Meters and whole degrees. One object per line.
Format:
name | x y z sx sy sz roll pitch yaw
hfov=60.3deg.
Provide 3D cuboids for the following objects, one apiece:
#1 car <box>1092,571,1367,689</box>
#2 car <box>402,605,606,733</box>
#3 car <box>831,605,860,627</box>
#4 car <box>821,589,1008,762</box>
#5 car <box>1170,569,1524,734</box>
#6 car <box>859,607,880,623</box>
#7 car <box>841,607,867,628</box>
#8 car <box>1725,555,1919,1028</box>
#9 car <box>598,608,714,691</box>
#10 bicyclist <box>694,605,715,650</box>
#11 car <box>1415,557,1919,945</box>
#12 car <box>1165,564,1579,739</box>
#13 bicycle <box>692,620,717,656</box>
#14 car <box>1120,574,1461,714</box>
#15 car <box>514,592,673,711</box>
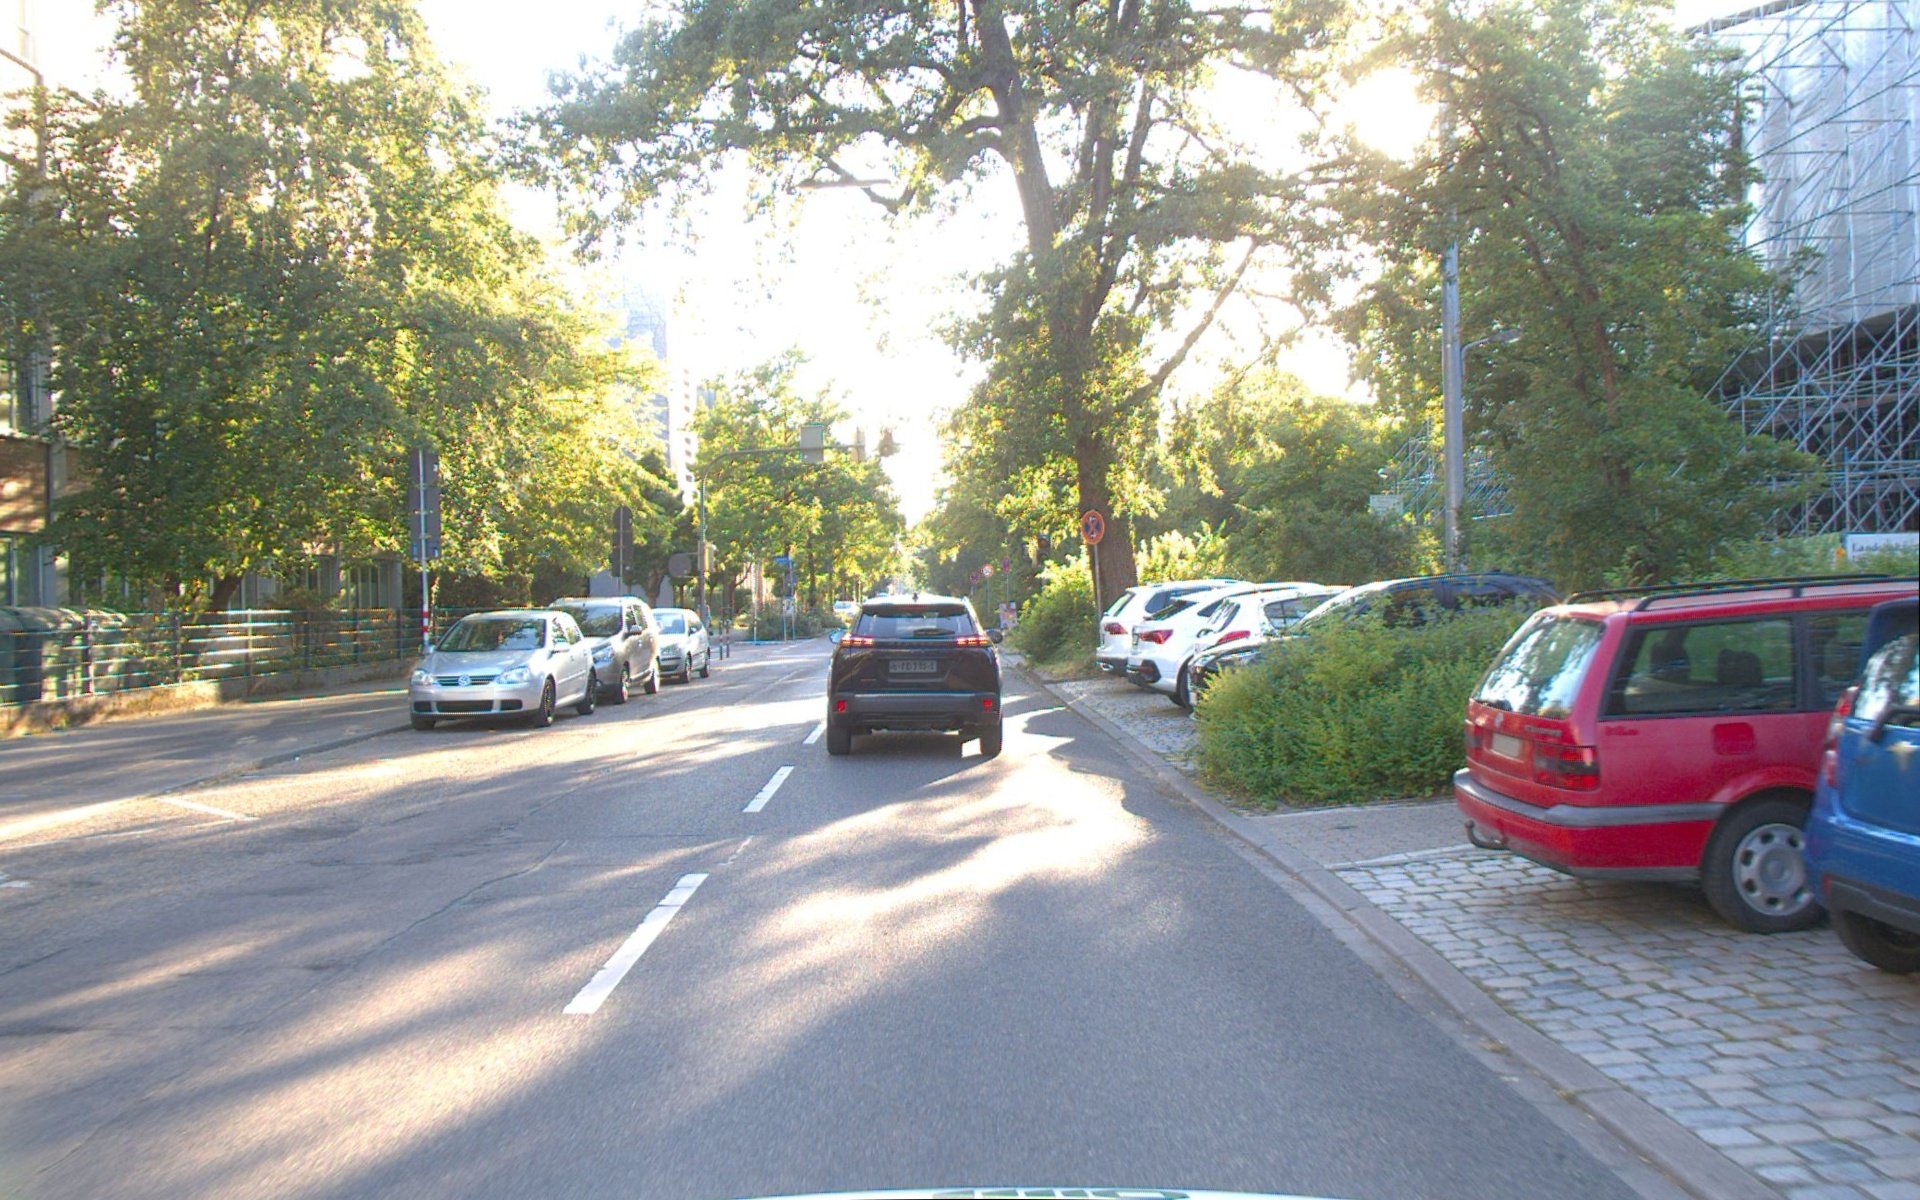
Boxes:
car | 4.165 0.459 26.061 4.083 1.740 1.868 -1 0 3
car | -5.991 0.843 22.195 1.637 1.520 4.060 -1 0 -1
car | -7.700 1.044 110.893 1.775 1.378 3.995 -2 0 -6
car | -0.488 0.699 17.260 1.732 1.596 3.379 -1 0 -2
car | 4.325 0.573 18.892 3.517 1.593 1.817 -3 -1 -2
car | -8.236 1.340 150.968 1.775 1.378 3.975 -2 0 -5
car | -7.514 1.222 117.142 1.775 1.378 3.996 -2 0 -5
car | 4.996 0.529 5.924 3.640 1.582 1.740 -4 0 -5
car | -6.173 0.965 33.977 1.645 1.482 3.881 -3 0 -1
bicyclist | -9.473 1.022 61.311 0.662 1.631 0.706 -1 0 -2
car | 4.621 0.577 8.066 4.250 1.500 1.742 -4 1 -1
car | 4.009 0.484 16.470 3.670 1.622 1.696 0 0 -3
bicycle | -9.469 1.386 61.289 0.672 1.271 2.191 -1 0 -2
car | 4.173 0.544 21.331 4.038 1.696 1.722 0 0 -1
car | -6.023 0.780 27.651 1.645 1.738 4.340 -3 0 -1
